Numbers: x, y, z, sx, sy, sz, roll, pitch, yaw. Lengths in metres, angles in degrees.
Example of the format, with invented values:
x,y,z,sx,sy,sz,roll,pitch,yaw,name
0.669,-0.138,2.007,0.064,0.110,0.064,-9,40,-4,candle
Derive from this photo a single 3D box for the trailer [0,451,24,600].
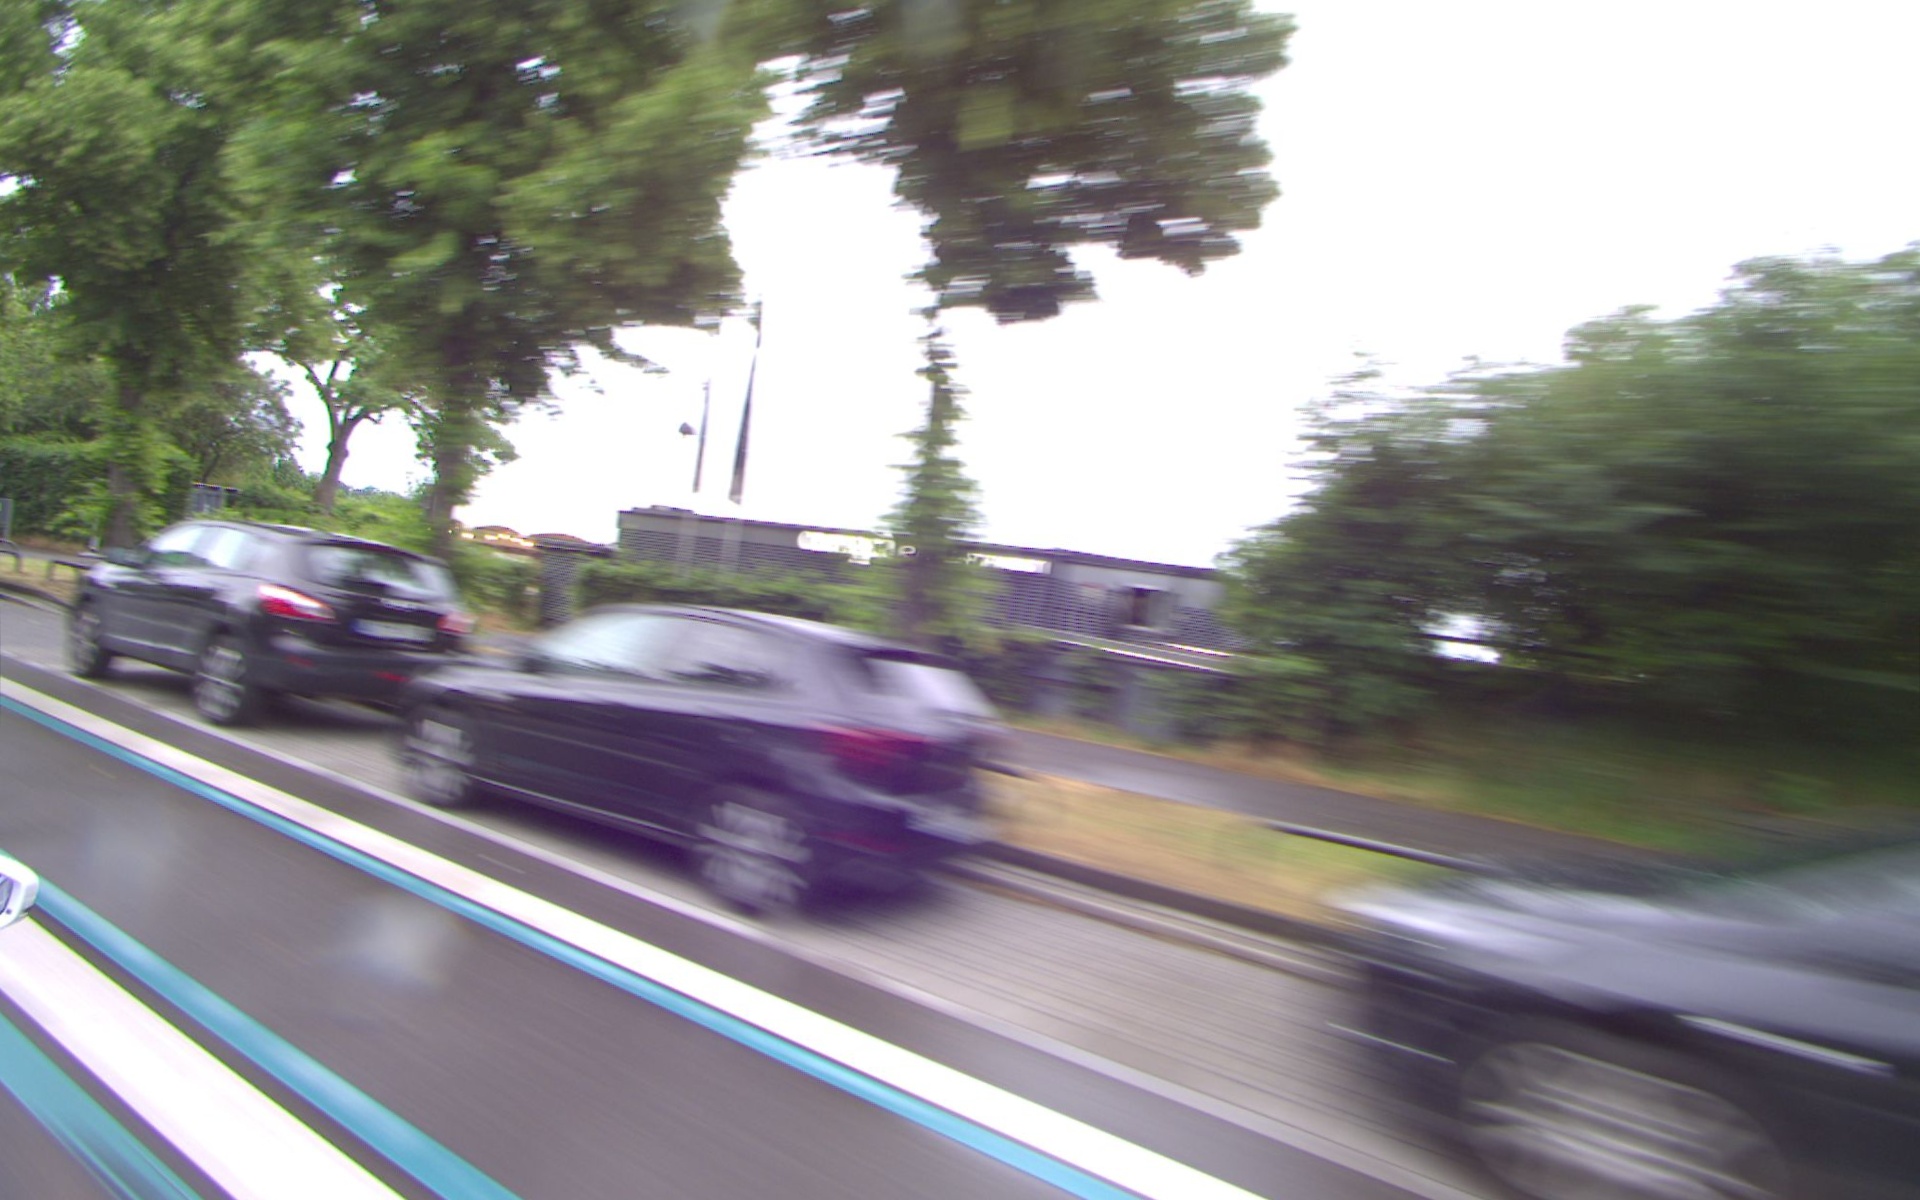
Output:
x,y,z,sx,sy,sz,roll,pitch,yaw,name
-16.303,-1.359,15.377,3.745,2.192,1.886,7,0,32,trailer

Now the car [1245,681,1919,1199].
x,y,z,sx,sy,sz,roll,pitch,yaw,name
3.268,1.322,3.045,4.204,1.480,1.735,7,-2,30,car

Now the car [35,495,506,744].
x,y,z,sx,sy,sz,roll,pitch,yaw,name
-6.237,0.127,9.015,4.084,1.601,1.736,7,-2,30,car

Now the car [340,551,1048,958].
x,y,z,sx,sy,sz,roll,pitch,yaw,name
-1.714,0.710,6.164,4.003,1.480,1.735,7,-2,30,car
